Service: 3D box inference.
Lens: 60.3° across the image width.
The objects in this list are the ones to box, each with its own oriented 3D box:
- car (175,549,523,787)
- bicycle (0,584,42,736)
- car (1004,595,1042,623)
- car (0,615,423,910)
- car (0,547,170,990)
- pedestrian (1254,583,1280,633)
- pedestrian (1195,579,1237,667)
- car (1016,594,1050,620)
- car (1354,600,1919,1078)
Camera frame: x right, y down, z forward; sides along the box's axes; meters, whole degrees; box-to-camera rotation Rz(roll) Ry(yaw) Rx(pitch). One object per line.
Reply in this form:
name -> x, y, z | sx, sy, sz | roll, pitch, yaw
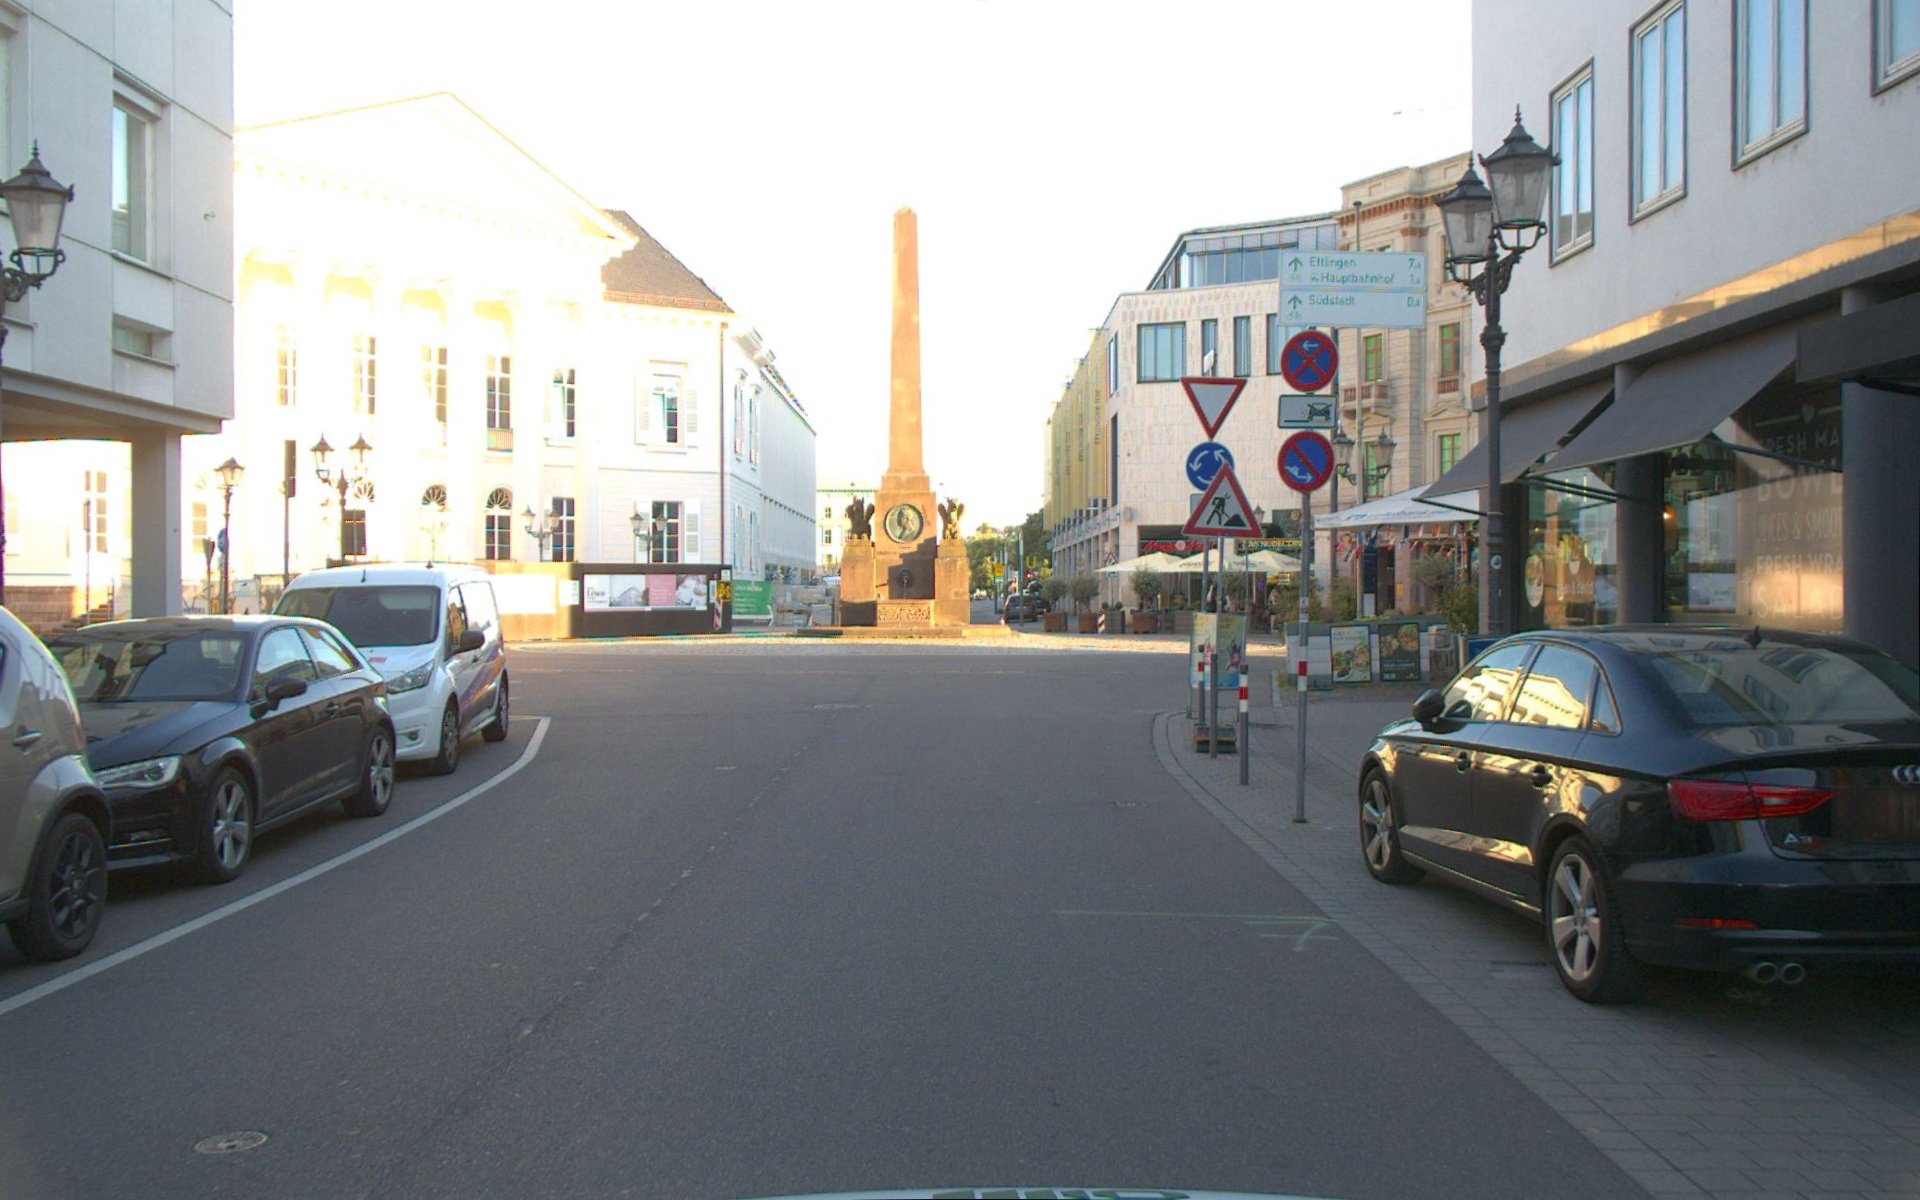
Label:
car -> -5.390, 0.512, 15.307 | 1.956, 1.847, 4.777 | 0, 0, -7
bicycle -> -10.207, 0.621, 17.028 | 0.566, 1.567, 1.732 | 0, 0, -1
car -> 3.363, 0.459, 88.905 | 1.952, 1.489, 4.001 | 0, 0, 1
car -> -4.720, 0.817, 10.169 | 1.644, 1.377, 4.103 | 0, 0, -3
car -> -4.621, 0.664, 5.801 | 1.954, 1.691, 3.997 | -1, 0, -4
pedestrian -> 11.082, 0.286, 59.760 | 0.885, 1.759, 0.850 | 0, 0, 8
pedestrian -> 4.966, 0.443, 32.109 | 0.676, 1.676, 0.695 | 0, 0, -1
car -> 4.285, 0.377, 97.391 | 1.952, 1.489, 4.001 | 0, 0, 1
car -> 3.228, 0.763, 7.397 | 1.765, 1.489, 4.115 | -1, 0, -3
